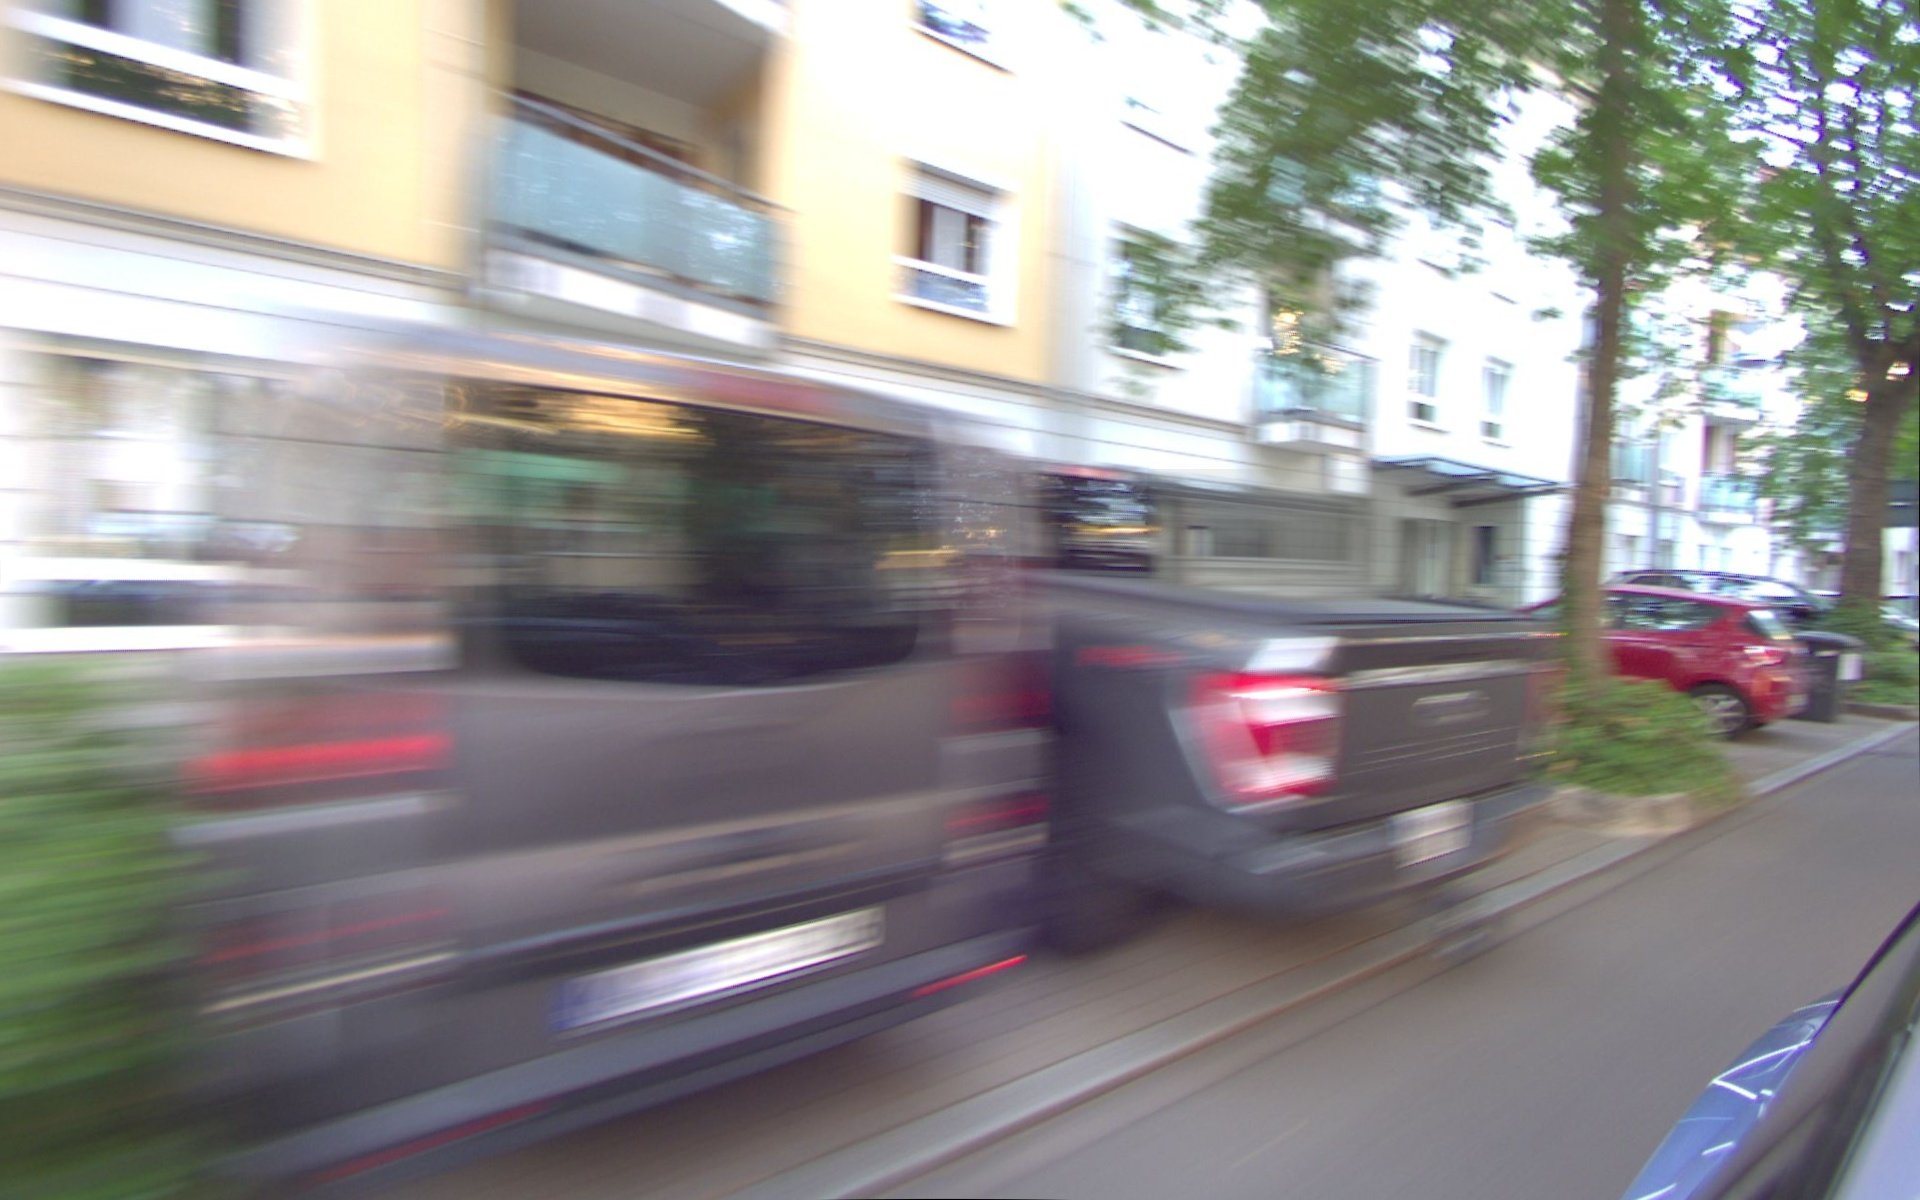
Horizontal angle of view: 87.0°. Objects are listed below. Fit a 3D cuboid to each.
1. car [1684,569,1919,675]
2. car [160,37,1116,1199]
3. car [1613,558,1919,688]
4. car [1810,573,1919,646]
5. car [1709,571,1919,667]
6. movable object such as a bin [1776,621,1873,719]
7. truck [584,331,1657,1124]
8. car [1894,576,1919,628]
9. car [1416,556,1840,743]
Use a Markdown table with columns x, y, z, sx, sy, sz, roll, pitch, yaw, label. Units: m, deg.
| x | y | z | sx | sy | sz | roll | pitch | yaw | label |
| --- | --- | --- | --- | --- | --- | --- | --- | --- | --- |
| 15.966 | 0.357 | 18.540 | 1.695 | 1.543 | 4.002 | 0 | 5 | -37 | car |
| -1.851 | 0.027 | 3.965 | 2.000 | 2.158 | 4.636 | 0 | 6 | -38 | car |
| 13.833 | 0.298 | 17.078 | 4.386 | 1.724 | 1.866 | 7 | 5 | 43 | car |
| 22.376 | 0.299 | 23.299 | 1.881 | 1.492 | 3.995 | 0 | 6 | -42 | car |
| 17.855 | 0.369 | 19.961 | 1.741 | 1.570 | 4.586 | 0 | 5 | -39 | car |
| 10.348 | 0.814 | 12.118 | 0.578 | 1.081 | 0.776 | 0 | 2 | -40 | movable object such as a bin |
| 0.003 | 0.046 | 5.769 | 2.220 | 2.157 | 6.025 | 0 | 6 | -38 | truck |
| 33.042 | 0.194 | 32.722 | 1.891 | 1.687 | 3.874 | 0 | 4 | -39 | car |
| 7.537 | 0.396 | 11.701 | 1.750 | 1.566 | 3.674 | -2 | 7 | -41 | car |
